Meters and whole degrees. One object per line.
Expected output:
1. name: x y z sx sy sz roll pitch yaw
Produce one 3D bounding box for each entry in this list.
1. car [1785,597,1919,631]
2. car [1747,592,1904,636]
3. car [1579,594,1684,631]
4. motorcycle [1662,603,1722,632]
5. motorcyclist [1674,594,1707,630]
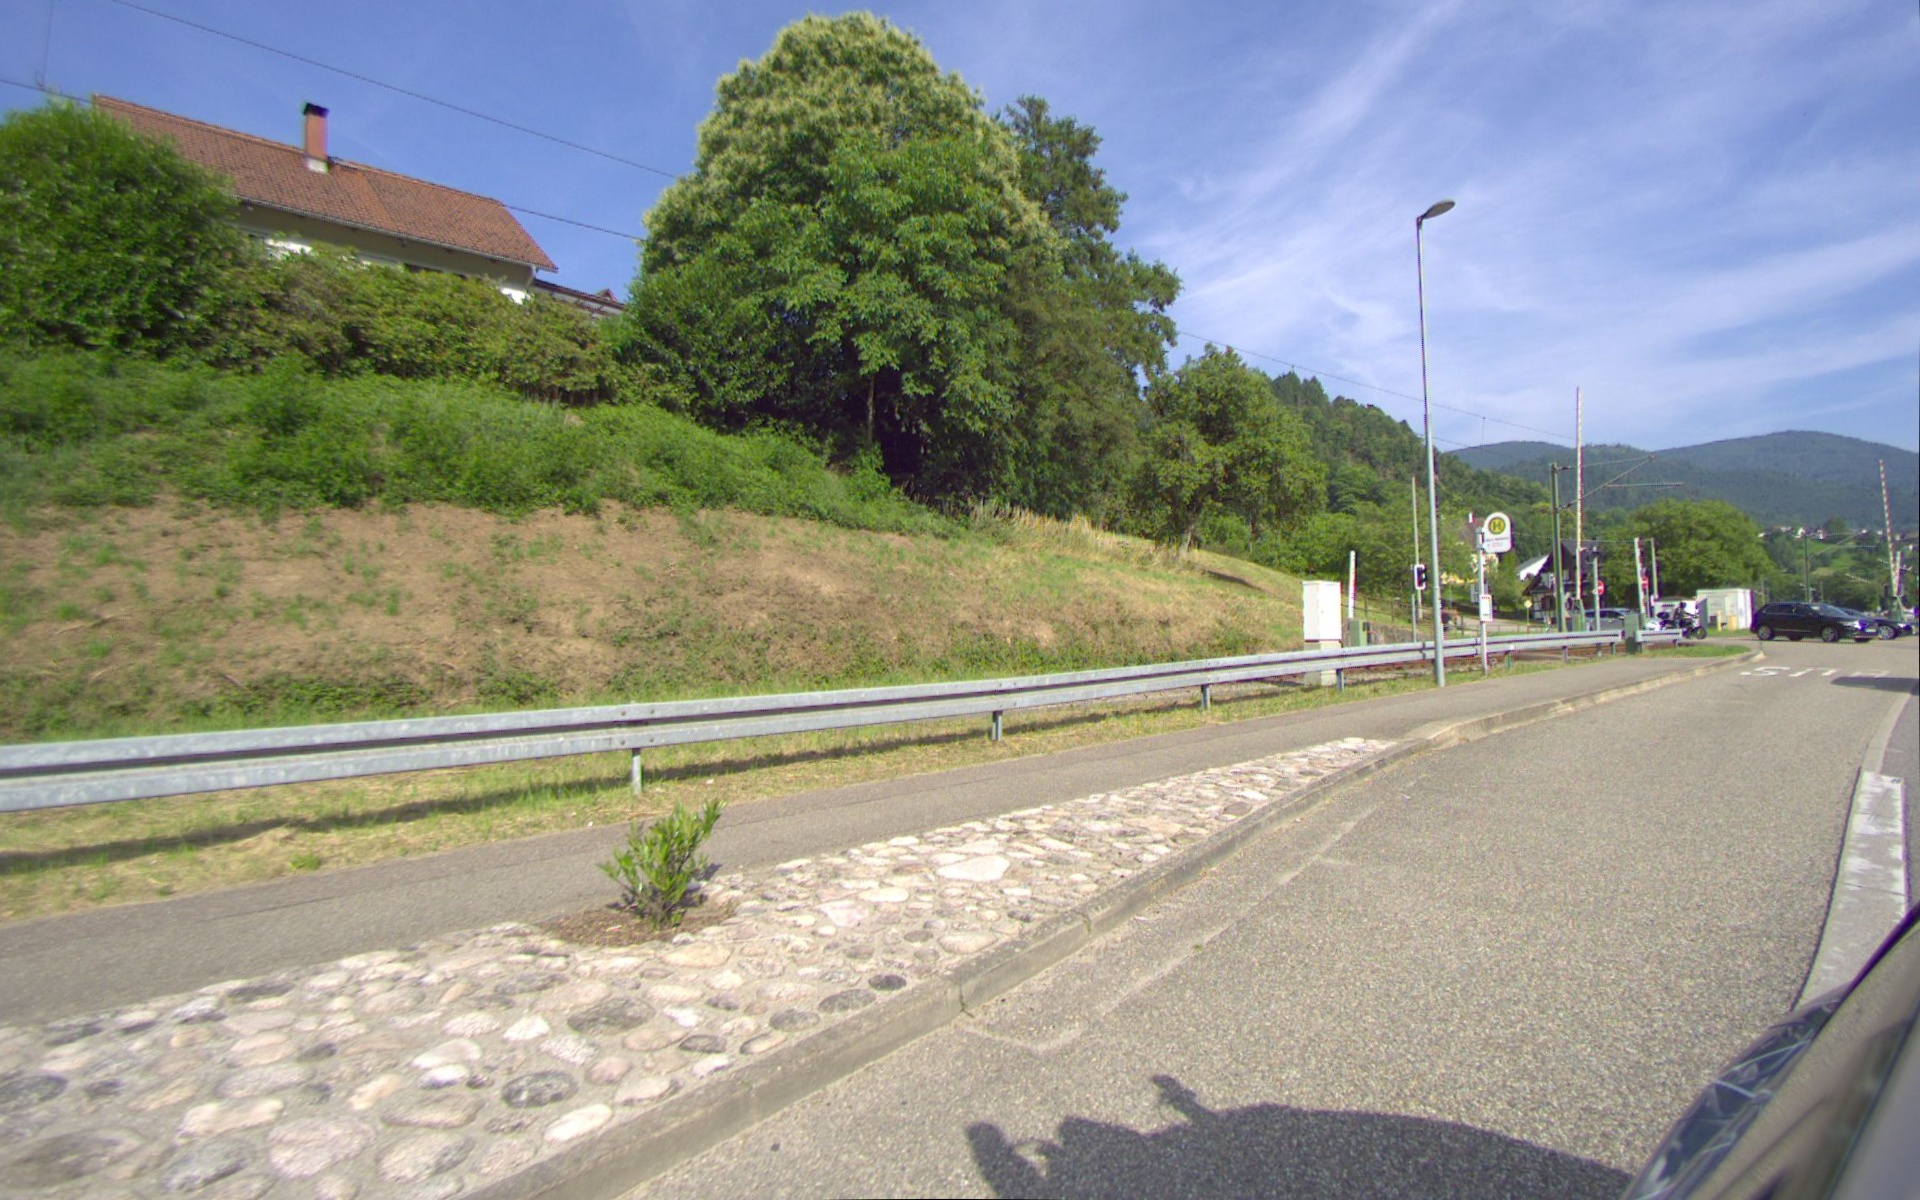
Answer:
1. car: 40.460 0.622 45.648 1.809 1.488 4.735 0 0 -40
2. car: 35.606 0.582 41.831 1.890 1.681 4.749 0 -1 -11
3. car: 35.036 0.675 52.887 1.798 1.709 4.129 -1 -3 -29
4. motorcycle: 33.966 0.821 47.009 0.782 1.271 2.102 -1 -3 -24
5. motorcyclist: 33.957 0.579 47.040 0.750 1.618 0.910 -1 -3 -25
